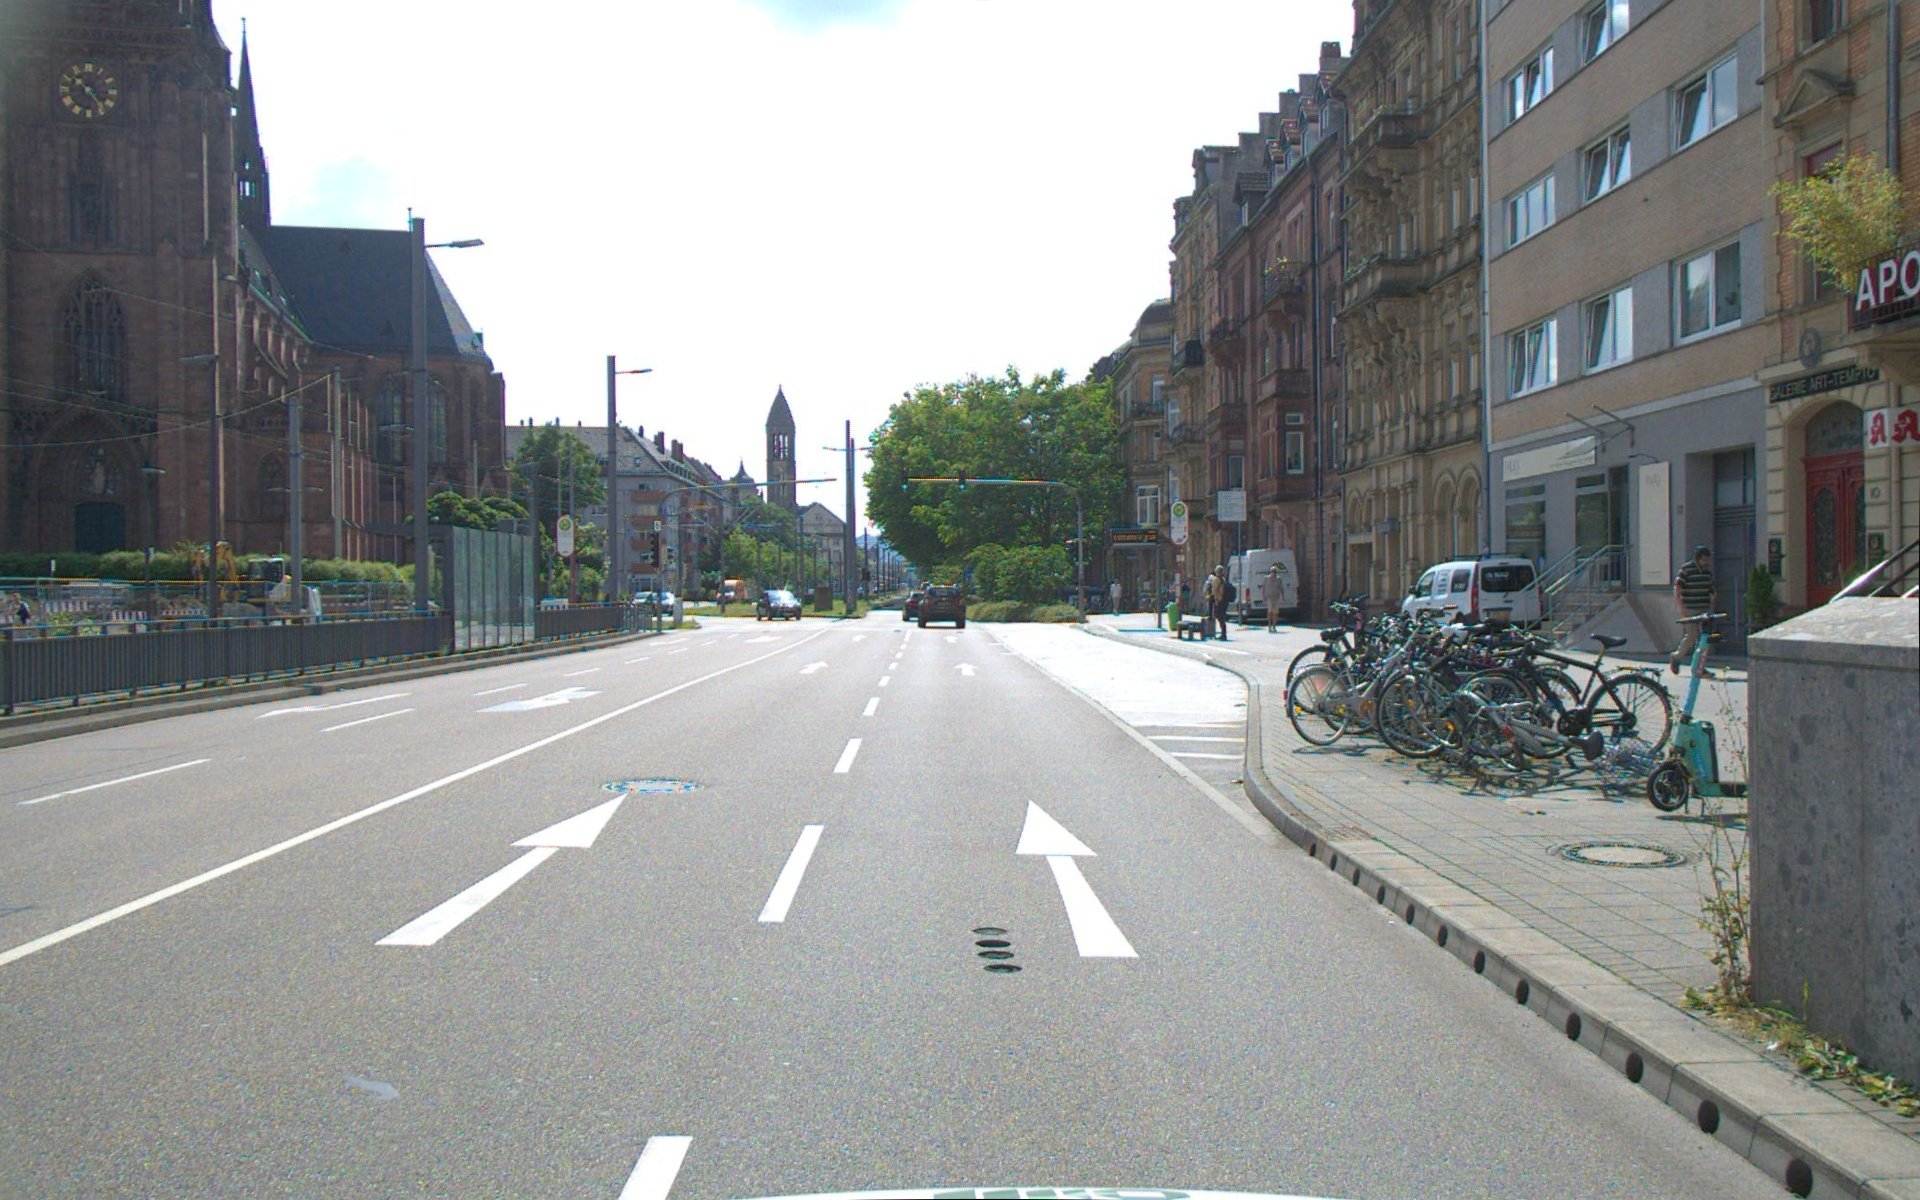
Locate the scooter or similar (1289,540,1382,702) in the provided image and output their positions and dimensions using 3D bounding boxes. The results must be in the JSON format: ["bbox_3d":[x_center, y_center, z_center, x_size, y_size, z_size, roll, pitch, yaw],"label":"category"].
[{"bbox_3d":[4.356,0.230,19.284,0.390,1.818,1.532,-1,0,-14],"label":"scooter or similar"}]

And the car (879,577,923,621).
[{"bbox_3d":[-2.873,-0.059,80.188,1.954,2.049,3.997,-1,0,-4],"label":"car"}]

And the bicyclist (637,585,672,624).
[{"bbox_3d":[-11.780,0.175,63.769,1.066,1.461,0.825,-1,0,9],"label":"bicyclist"}]

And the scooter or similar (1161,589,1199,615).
[{"bbox_3d":[10.744,0.107,80.828,1.733,1.205,0.466,-3,0,-1],"label":"scooter or similar"}]

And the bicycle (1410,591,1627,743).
[{"bbox_3d":[4.942,0.573,14.627,1.892,1.259,0.439,-1,2,-15],"label":"bicycle"}]

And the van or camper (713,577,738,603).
[{"bbox_3d":[-25.176,-1.075,177.760,2.211,2.785,6.197,-1,0,-5],"label":"van or camper"}]

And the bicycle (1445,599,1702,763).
[{"bbox_3d":[4.885,0.640,13.218,1.884,1.259,0.441,0,2,1],"label":"bicycle"}]

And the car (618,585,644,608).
[{"bbox_3d":[-23.802,-0.263,119.748,1.766,1.579,4.285,0,0,-10],"label":"car"}]

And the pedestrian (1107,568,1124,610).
[{"bbox_3d":[7.733,-0.555,82.433,0.752,2.049,0.715,-1,0,-1],"label":"pedestrian"}]

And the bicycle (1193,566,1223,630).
[{"bbox_3d":[7.777,-0.073,51.980,0.669,1.959,1.589,-1,0,0],"label":"bicycle"}]

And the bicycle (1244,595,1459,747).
[{"bbox_3d":[3.491,0.611,14.749,1.892,1.259,0.439,-1,2,-15],"label":"bicycle"}]

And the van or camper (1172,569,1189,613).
[{"bbox_3d":[10.351,-0.427,77.555,0.652,2.049,0.638,-1,0,-1],"label":"van or camper"}]

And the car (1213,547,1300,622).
[{"bbox_3d":[10.667,-0.566,59.929,1.953,2.569,5.887,-1,1,-1],"label":"car"}]

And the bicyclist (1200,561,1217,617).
[{"bbox_3d":[7.799,-0.350,51.936,0.419,1.748,0.828,-1,2,0],"label":"bicyclist"}]

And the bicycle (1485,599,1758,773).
[{"bbox_3d":[4.998,0.643,12.543,1.884,1.259,0.441,0,2,1],"label":"bicycle"}]

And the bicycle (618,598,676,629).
[{"bbox_3d":[-12.070,0.523,63.774,1.975,1.146,0.932,-1,0,9],"label":"bicycle"}]

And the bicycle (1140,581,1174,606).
[{"bbox_3d":[10.341,-0.359,86.942,1.732,1.290,0.467,0,2,2],"label":"bicycle"}]

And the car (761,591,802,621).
[{"bbox_3d":[-8.904,0.273,82.903,1.878,1.442,3.738,-1,0,-4],"label":"car"}]

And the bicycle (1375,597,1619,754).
[{"bbox_3d":[4.455,0.618,13.772,1.884,1.259,0.441,0,2,1],"label":"bicycle"}]

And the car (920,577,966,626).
[{"bbox_3d":[-0.708,0.026,64.926,1.655,1.741,3.608,-1,3,-3],"label":"car"}]

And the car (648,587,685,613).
[{"bbox_3d":[-18.598,-0.024,105.097,1.781,1.579,4.557,-1,0,-4],"label":"car"}]

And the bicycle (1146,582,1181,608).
[{"bbox_3d":[10.438,-0.274,84.840,1.732,1.290,0.467,0,2,2],"label":"bicycle"}]

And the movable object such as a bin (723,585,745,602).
[{"bbox_3d":[-25.111,-0.739,183.814,2.164,1.723,3.714,-1,3,-5],"label":"movable object such as a bin"}]

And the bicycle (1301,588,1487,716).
[{"bbox_3d":[4.513,0.525,17.205,1.891,1.259,0.440,-1,2,-14],"label":"bicycle"}]

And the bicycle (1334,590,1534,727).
[{"bbox_3d":[4.613,0.552,16.092,1.890,1.259,0.440,-1,2,-12],"label":"bicycle"}]

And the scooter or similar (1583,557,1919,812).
[{"bbox_3d":[5.299,0.522,10.676,2.275,1.572,0.698,0,2,4],"label":"scooter or similar"}]

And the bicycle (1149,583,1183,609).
[{"bbox_3d":[10.479,-0.227,84.129,1.709,1.290,0.467,0,2,2],"label":"bicycle"}]

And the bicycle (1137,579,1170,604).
[{"bbox_3d":[10.282,-0.432,87.964,1.732,1.290,0.467,0,2,2],"label":"bicycle"}]

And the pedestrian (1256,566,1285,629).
[{"bbox_3d":[9.295,-0.077,49.504,0.650,1.868,0.693,-1,0,-7],"label":"pedestrian"}]

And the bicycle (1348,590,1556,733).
[{"bbox_3d":[4.617,0.564,15.523,1.890,1.259,0.440,-1,2,-12],"label":"bicycle"}]

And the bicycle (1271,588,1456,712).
[{"bbox_3d":[4.338,0.522,17.766,1.944,1.259,0.440,-1,2,-13],"label":"bicycle"}]

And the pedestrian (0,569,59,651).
[{"bbox_3d":[-23.872,0.261,42.287,1.043,2.049,1.051,-1,0,2],"label":"pedestrian"}]

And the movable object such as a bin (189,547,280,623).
[{"bbox_3d":[-31.507,-0.690,71.914,1.952,3.159,4.003,0,3,3],"label":"movable object such as a bin"}]

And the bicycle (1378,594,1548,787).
[{"bbox_3d":[3.743,0.624,12.466,0.431,1.259,1.927,-1,3,-9],"label":"bicycle"}]

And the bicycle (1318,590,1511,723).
[{"bbox_3d":[4.585,0.556,16.679,1.890,1.259,0.440,-1,2,-12],"label":"bicycle"}]

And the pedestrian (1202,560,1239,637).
[{"bbox_3d":[6.722,-0.041,42.691,0.653,1.936,0.691,-1,0,-20],"label":"pedestrian"}]

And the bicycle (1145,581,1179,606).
[{"bbox_3d":[10.444,-0.338,85.517,1.732,1.290,0.467,0,2,2],"label":"bicycle"}]

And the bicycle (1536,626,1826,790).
[{"bbox_3d":[5.160,0.768,11.890,1.884,1.122,0.441,0,2,1],"label":"bicycle"}]

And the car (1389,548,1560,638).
[{"bbox_3d":[11.572,-0.138,37.549,1.955,1.894,4.746,-1,0,-6],"label":"car"}]

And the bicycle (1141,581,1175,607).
[{"bbox_3d":[10.354,-0.321,86.319,1.732,1.290,0.467,0,2,2],"label":"bicycle"}]

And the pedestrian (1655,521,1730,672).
[{"bbox_3d":[10.508,-0.065,23.735,0.706,2.135,0.786,-1,2,-1],"label":"pedestrian"}]
